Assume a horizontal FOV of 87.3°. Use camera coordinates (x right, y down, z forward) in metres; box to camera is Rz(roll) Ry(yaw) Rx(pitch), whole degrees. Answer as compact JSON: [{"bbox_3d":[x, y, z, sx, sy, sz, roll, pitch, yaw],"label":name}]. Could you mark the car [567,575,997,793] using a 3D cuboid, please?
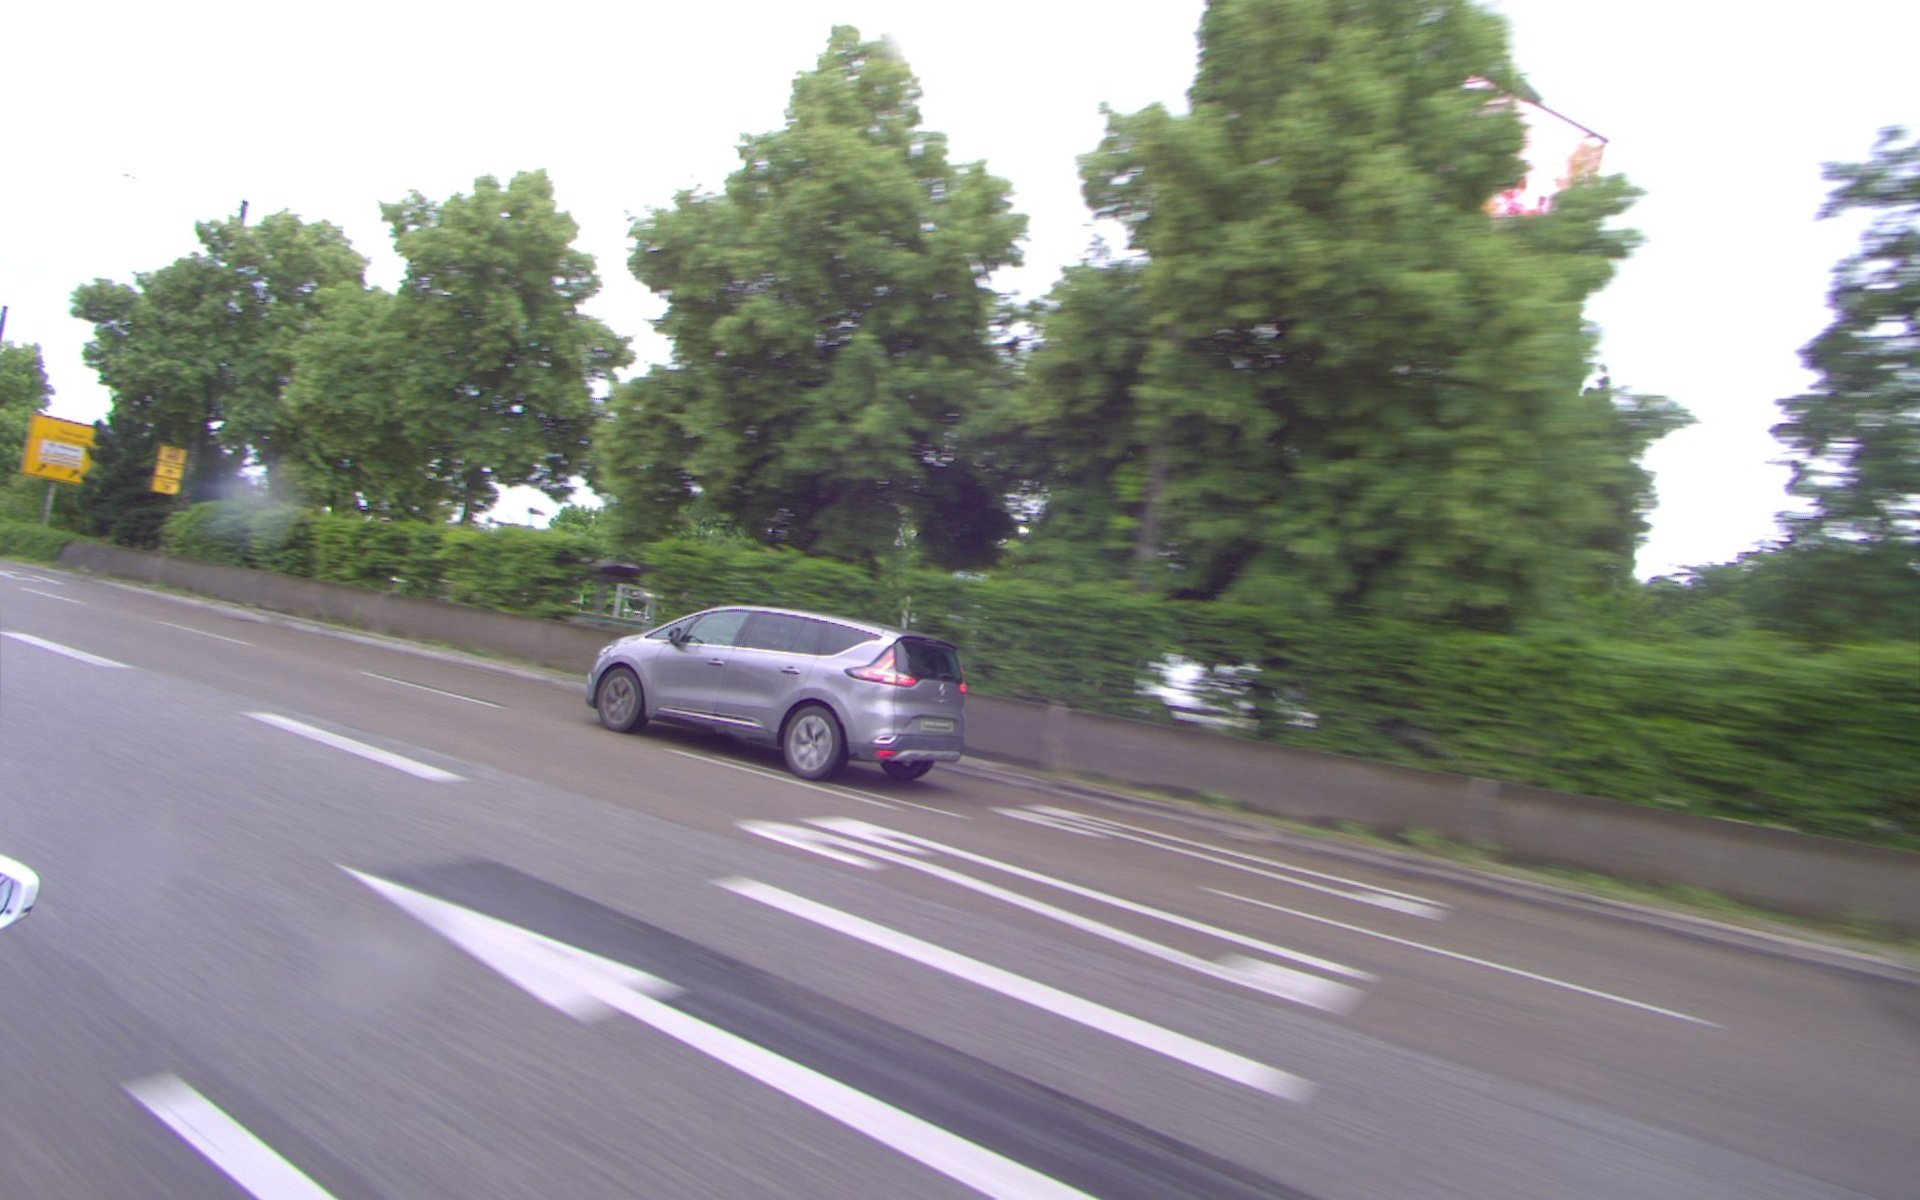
[{"bbox_3d":[-2.076,0.868,11.246,4.548,1.666,1.731,6,-4,31],"label":"car"}]
